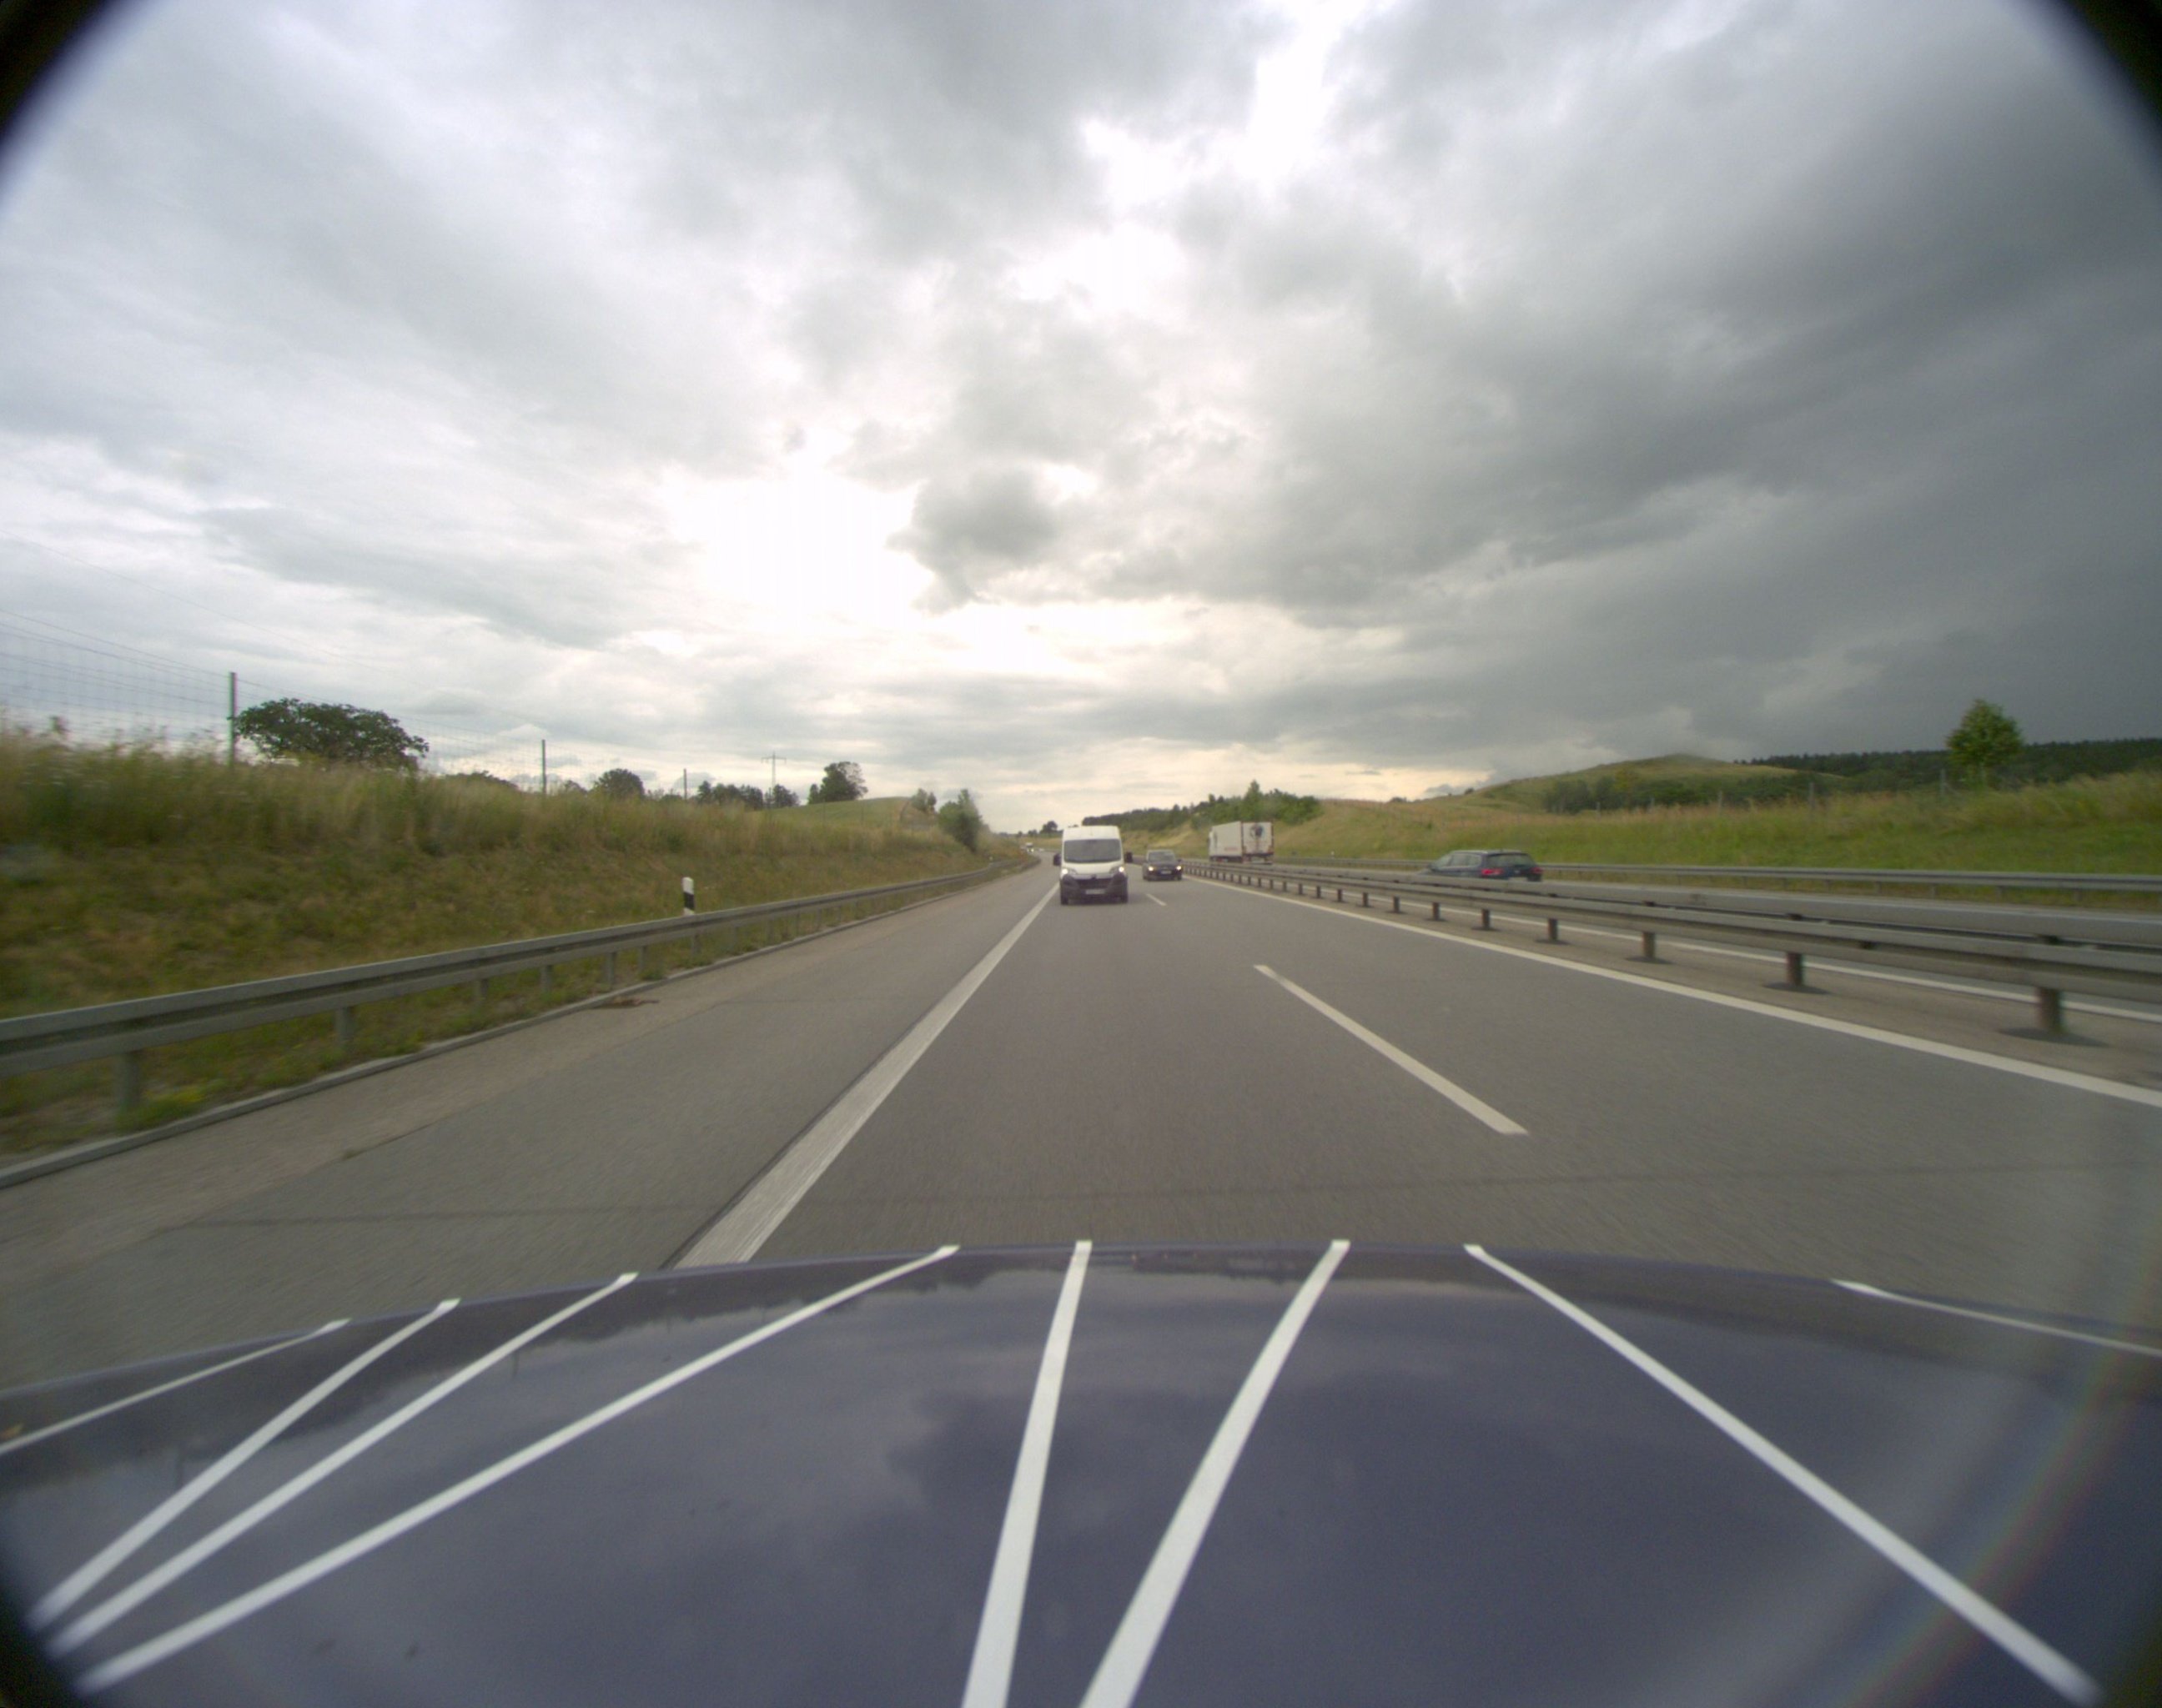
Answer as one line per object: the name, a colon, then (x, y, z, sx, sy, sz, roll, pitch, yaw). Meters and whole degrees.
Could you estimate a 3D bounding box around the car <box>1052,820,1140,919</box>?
car: (0.348, 0.348, 21.886, 2.132, 2.412, 6.110, -1, 1, -1)

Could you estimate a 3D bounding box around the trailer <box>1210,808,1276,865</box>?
trailer: (14.521, -1.493, 69.662, 2.802, 4.623, 14.845, -1, 0, 0)

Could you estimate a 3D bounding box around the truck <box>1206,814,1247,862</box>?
truck: (14.534, -1.549, 76.418, 2.802, 4.620, 6.919, -1, 1, 0)

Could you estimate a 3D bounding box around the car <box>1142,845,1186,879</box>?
car: (4.402, 0.381, 41.165, 1.901, 1.661, 5.396, -1, 1, 2)

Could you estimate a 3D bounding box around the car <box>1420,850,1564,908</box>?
car: (11.298, 0.625, 21.237, 1.768, 1.416, 3.999, -1, 0, -2)

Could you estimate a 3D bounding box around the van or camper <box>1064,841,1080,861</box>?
van or camper: (-1.280, -0.524, 109.305, 2.104, 2.722, 6.899, -2, 1, -2)
